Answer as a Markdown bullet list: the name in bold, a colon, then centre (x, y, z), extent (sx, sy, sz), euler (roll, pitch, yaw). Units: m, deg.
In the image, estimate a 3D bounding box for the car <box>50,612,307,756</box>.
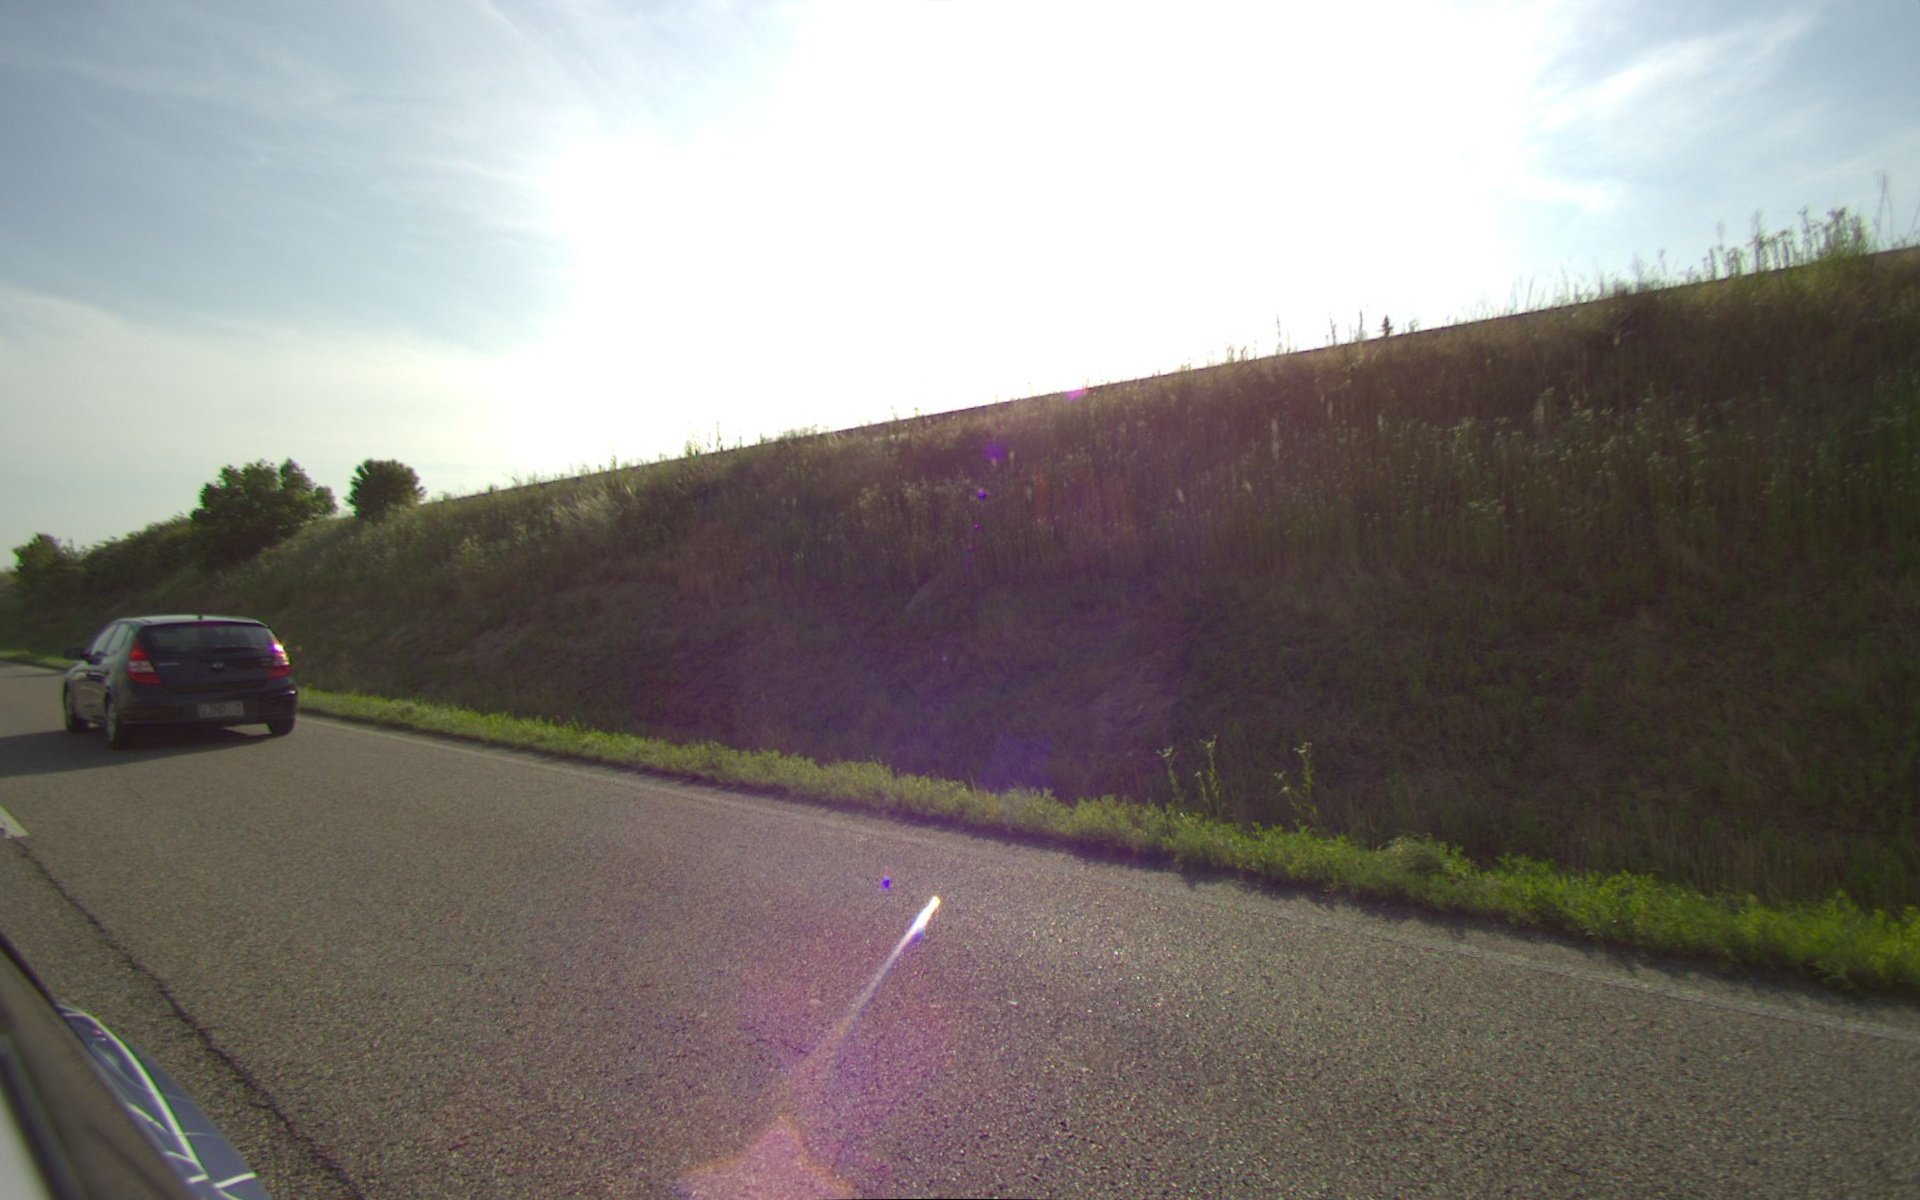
- **car**: centre (-9.648, 0.905, 12.380), extent (4.015, 1.464, 1.699), euler (-1, -1, 40)
